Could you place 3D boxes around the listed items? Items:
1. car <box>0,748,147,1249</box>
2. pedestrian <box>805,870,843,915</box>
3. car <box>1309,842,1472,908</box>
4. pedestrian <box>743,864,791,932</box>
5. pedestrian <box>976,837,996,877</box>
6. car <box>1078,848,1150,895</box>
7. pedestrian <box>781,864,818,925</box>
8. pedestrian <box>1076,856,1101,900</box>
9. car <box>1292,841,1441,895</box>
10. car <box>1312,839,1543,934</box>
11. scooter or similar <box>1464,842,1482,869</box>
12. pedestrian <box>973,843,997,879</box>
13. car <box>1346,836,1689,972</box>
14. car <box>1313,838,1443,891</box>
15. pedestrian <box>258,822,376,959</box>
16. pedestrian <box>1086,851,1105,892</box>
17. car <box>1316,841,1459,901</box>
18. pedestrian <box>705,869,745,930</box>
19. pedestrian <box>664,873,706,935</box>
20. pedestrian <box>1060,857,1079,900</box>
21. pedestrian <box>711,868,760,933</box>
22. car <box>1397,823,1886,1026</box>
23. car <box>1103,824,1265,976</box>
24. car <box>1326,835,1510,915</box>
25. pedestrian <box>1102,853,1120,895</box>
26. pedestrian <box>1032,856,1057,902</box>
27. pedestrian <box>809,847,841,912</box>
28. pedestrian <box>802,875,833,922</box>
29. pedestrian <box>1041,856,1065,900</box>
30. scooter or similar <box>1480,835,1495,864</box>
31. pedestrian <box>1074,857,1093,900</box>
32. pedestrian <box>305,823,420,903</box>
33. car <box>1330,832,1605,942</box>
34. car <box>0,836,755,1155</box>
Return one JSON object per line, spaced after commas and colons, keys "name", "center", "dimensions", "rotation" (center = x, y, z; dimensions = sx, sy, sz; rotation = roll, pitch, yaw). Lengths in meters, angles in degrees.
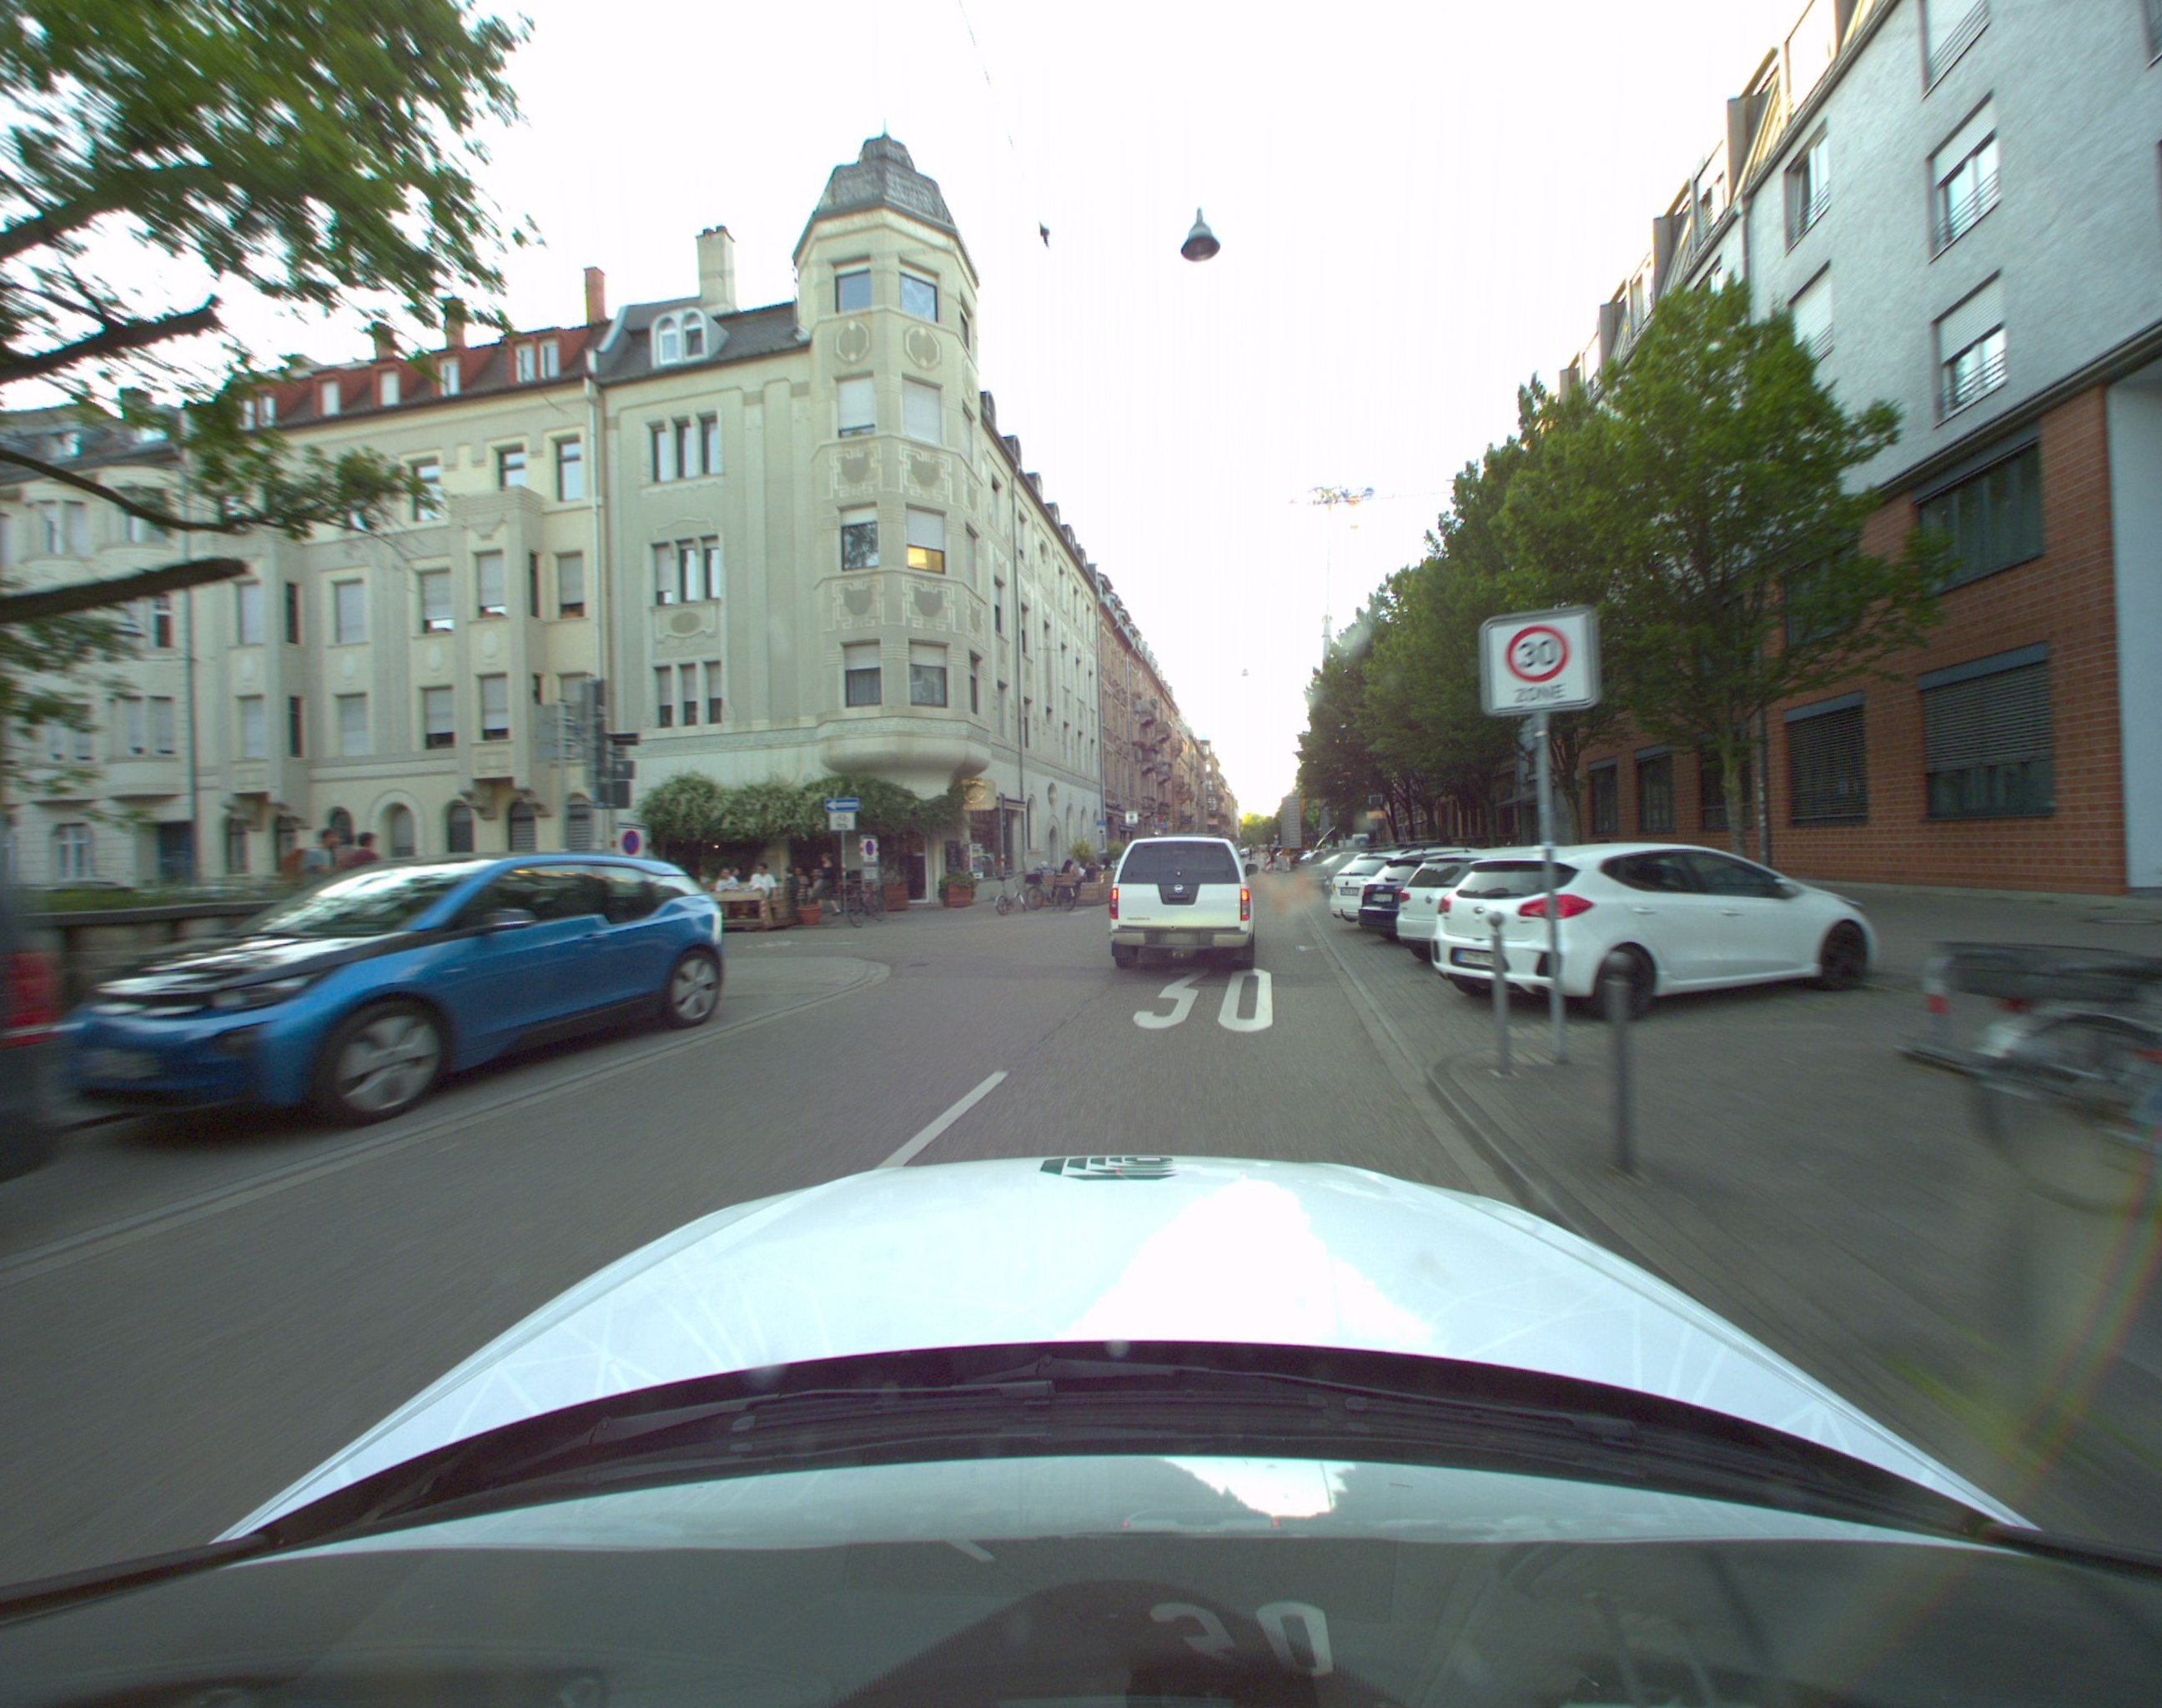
{"name": "car", "center": [-5.549, 0.582, 1.070], "dimensions": [1.979, 1.866, 5.310], "rotation": [-2, 0, 14]}
{"name": "pedestrian", "center": [-7.266, 1.087, 23.060], "dimensions": [0.686, 1.214, 0.782], "rotation": [-2, 0, 13]}
{"name": "car", "center": [7.985, 0.514, 21.104], "dimensions": [3.600, 1.482, 1.714], "rotation": [-2, 0, -15]}
{"name": "pedestrian", "center": [-7.428, 1.037, 19.283], "dimensions": [0.697, 1.540, 0.786], "rotation": [-2, 0, 11]}
{"name": "pedestrian", "center": [-3.282, 0.092, 28.181], "dimensions": [0.535, 1.350, 0.520], "rotation": [-1, 0, 13]}
{"name": "car", "center": [1.336, 0.620, 31.233], "dimensions": [1.980, 1.591, 4.329], "rotation": [-2, 0, 12]}
{"name": "pedestrian", "center": [-6.977, 0.987, 20.192], "dimensions": [0.568, 1.469, 0.646], "rotation": [-2, 0, 11]}
{"name": "pedestrian", "center": [0.230, 0.734, 25.397], "dimensions": [0.605, 1.324, 0.773], "rotation": [-1, 0, 11]}
{"name": "car", "center": [9.189, 0.423, 26.215], "dimensions": [4.388, 1.534, 1.795], "rotation": [-2, 0, -21]}
{"name": "car", "center": [6.627, 0.566, 15.620], "dimensions": [3.998, 1.537, 1.626], "rotation": [-2, 0, -18]}
{"name": "scooter or similar", "center": [18.510, 0.068, 38.467], "dimensions": [0.365, 1.218, 1.630], "rotation": [-6, -2, 36]}
{"name": "pedestrian", "center": [-3.177, 0.226, 27.080], "dimensions": [0.553, 1.154, 0.750], "rotation": [-1, 0, 12]}
{"name": "car", "center": [5.852, 0.594, 10.980], "dimensions": [4.001, 1.473, 1.862], "rotation": [-2, -2, -21]}
{"name": "car", "center": [10.562, 0.373, 29.098], "dimensions": [3.984, 1.636, 1.754], "rotation": [-3, 0, -7]}
{"name": "pedestrian", "center": [-10.089, 0.470, 10.780], "dimensions": [0.702, 1.721, 0.839], "rotation": [-2, 0, 11]}
{"name": "pedestrian", "center": [0.492, 0.585, 27.684], "dimensions": [0.513, 1.350, 0.542], "rotation": [-1, 0, 10]}
{"name": "car", "center": [8.824, 0.465, 23.486], "dimensions": [3.601, 1.534, 1.554], "rotation": [-2, 0, -16]}
{"name": "pedestrian", "center": [-8.746, 1.110, 20.012], "dimensions": [0.568, 1.443, 0.647], "rotation": [-2, 0, 13]}
{"name": "pedestrian", "center": [-9.440, 1.178, 19.436], "dimensions": [0.568, 1.411, 0.647], "rotation": [-2, 0, 13]}
{"name": "pedestrian", "center": [-0.385, 0.794, 26.556], "dimensions": [0.465, 1.350, 0.613], "rotation": [-1, 0, 11]}
{"name": "pedestrian", "center": [-8.203, 1.087, 19.337], "dimensions": [0.697, 1.469, 0.786], "rotation": [-2, 0, 11]}
{"name": "car", "center": [5.333, 0.544, 7.862], "dimensions": [3.996, 1.506, 1.760], "rotation": [-2, 0, -17]}
{"name": "car", "center": [1.584, 0.507, 12.007], "dimensions": [1.922, 1.794, 4.634], "rotation": [0, 1, 9]}
{"name": "car", "center": [7.579, 0.437, 18.364], "dimensions": [3.607, 1.580, 1.704], "rotation": [-2, 0, -21]}
{"name": "pedestrian", "center": [0.990, 0.648, 26.710], "dimensions": [0.481, 1.350, 0.671], "rotation": [-1, 0, 11]}
{"name": "pedestrian", "center": [-1.058, 0.721, 23.987], "dimensions": [0.533, 1.324, 0.707], "rotation": [-1, 0, 13]}
{"name": "pedestrian", "center": [-6.685, 0.658, 21.322], "dimensions": [0.612, 1.675, 0.568], "rotation": [-2, 0, -1]}
{"name": "pedestrian", "center": [-7.070, 1.196, 21.851], "dimensions": [0.527, 1.214, 0.608], "rotation": [-2, 0, 13]}
{"name": "pedestrian", "center": [-0.858, 0.720, 24.795], "dimensions": [0.533, 1.324, 0.707], "rotation": [-1, 0, 13]}
{"name": "scooter or similar", "center": [17.778, -0.219, 35.632], "dimensions": [0.408, 1.218, 1.785], "rotation": [-7, -2, 24]}
{"name": "pedestrian", "center": [0.096, 0.781, 26.399], "dimensions": [0.465, 1.350, 0.613], "rotation": [-1, 0, 11]}
{"name": "pedestrian", "center": [-9.400, 0.117, 10.683], "dimensions": [0.702, 0.980, 0.839], "rotation": [-2, 0, 11]}
{"name": "car", "center": [6.377, 0.494, 13.504], "dimensions": [3.998, 1.523, 1.699], "rotation": [-2, -2, -18]}
{"name": "car", "center": [-4.465, 0.691, 6.104], "dimensions": [1.628, 1.555, 4.020], "rotation": [-2, 0, 15]}
